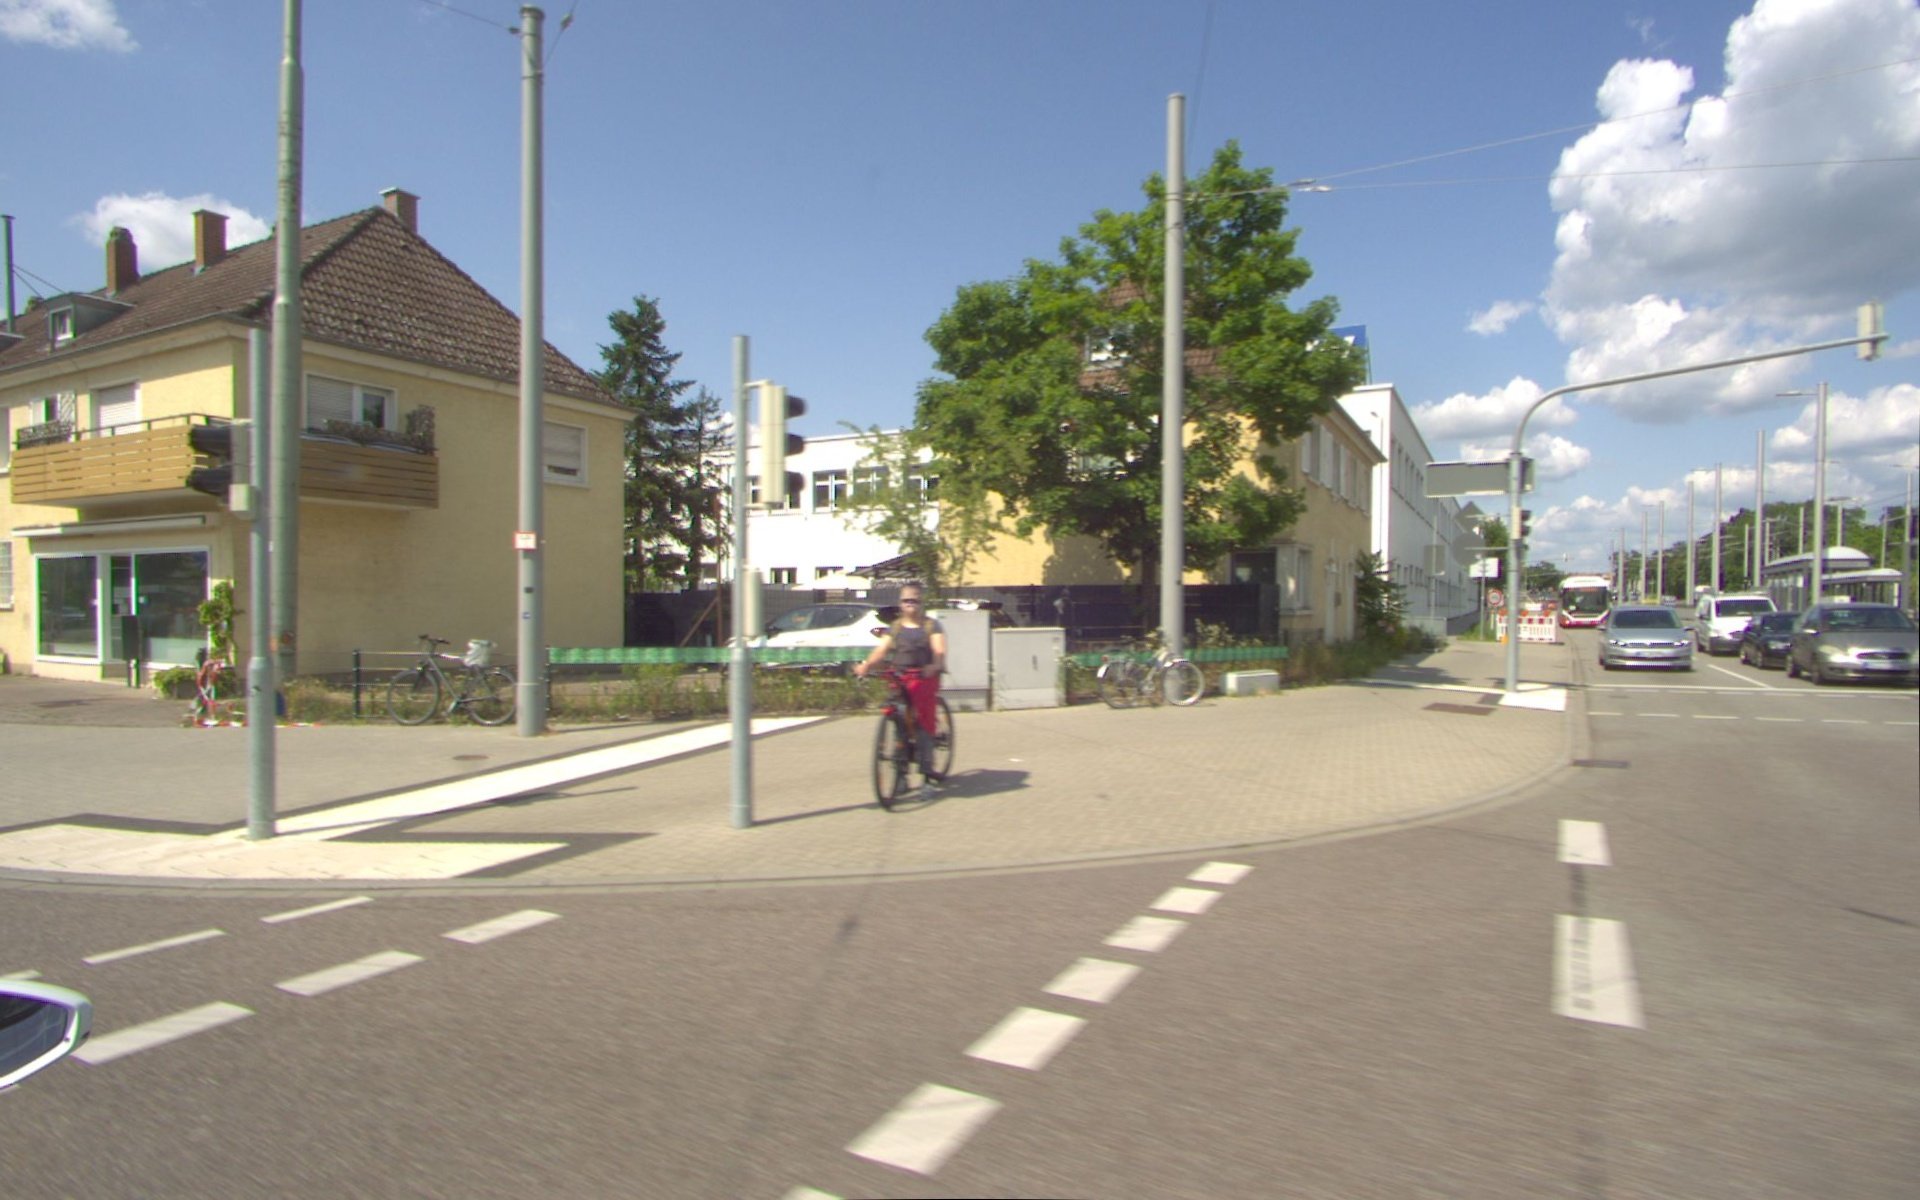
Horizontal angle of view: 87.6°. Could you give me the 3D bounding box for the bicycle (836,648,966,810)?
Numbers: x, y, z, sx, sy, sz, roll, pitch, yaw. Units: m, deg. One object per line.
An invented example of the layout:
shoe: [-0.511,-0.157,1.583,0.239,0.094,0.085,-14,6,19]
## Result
bicycle: [-0.430,0.998,8.419,0.701,1.116,2.033,0,0,8]

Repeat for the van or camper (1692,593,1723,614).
van or camper: [118.546,0.589,158.839,2.961,3.250,7.096,1,-1,29]

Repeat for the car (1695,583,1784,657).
car: [24.892,0.604,32.125,1.789,2.188,4.821,1,0,33]

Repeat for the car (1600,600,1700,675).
car: [17.292,0.872,25.242,1.912,1.714,3.978,0,0,33]

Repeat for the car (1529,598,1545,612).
car: [88.091,0.726,152.844,1.969,2.040,3.985,1,-1,28]

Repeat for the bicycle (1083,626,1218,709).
bicycle: [2.714,0.940,14.315,1.776,1.120,0.701,0,0,-16]

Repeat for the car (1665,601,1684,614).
car: [115.920,1.258,162.503,1.969,2.040,3.985,1,-1,28]

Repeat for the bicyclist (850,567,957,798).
bicyclist: [-0.447,0.651,8.334,0.706,1.798,0.960,0,0,9]

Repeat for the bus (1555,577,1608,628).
bus: [40.564,0.153,65.472,2.470,3.163,6.628,1,0,28]

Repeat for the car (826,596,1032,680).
car: [-0.649,0.786,21.053,3.936,1.642,1.822,-1,-1,26]

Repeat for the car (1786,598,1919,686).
car: [17.934,0.762,19.915,1.816,1.589,3.978,0,0,33]

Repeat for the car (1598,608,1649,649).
car: [25.202,1.047,38.103,1.539,1.448,3.572,0,0,33]

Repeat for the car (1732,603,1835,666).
car: [20.662,0.822,25.256,1.554,1.465,3.702,0,0,33]

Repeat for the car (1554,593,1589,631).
car: [44.804,0.868,73.473,1.947,2.661,5.139,0,0,29]

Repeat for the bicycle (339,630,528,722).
bicycle: [-6.717,0.949,12.800,2.233,1.111,0.595,0,0,10]

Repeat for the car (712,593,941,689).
car: [-2.535,0.758,18.948,3.936,1.642,1.822,-1,-1,26]
